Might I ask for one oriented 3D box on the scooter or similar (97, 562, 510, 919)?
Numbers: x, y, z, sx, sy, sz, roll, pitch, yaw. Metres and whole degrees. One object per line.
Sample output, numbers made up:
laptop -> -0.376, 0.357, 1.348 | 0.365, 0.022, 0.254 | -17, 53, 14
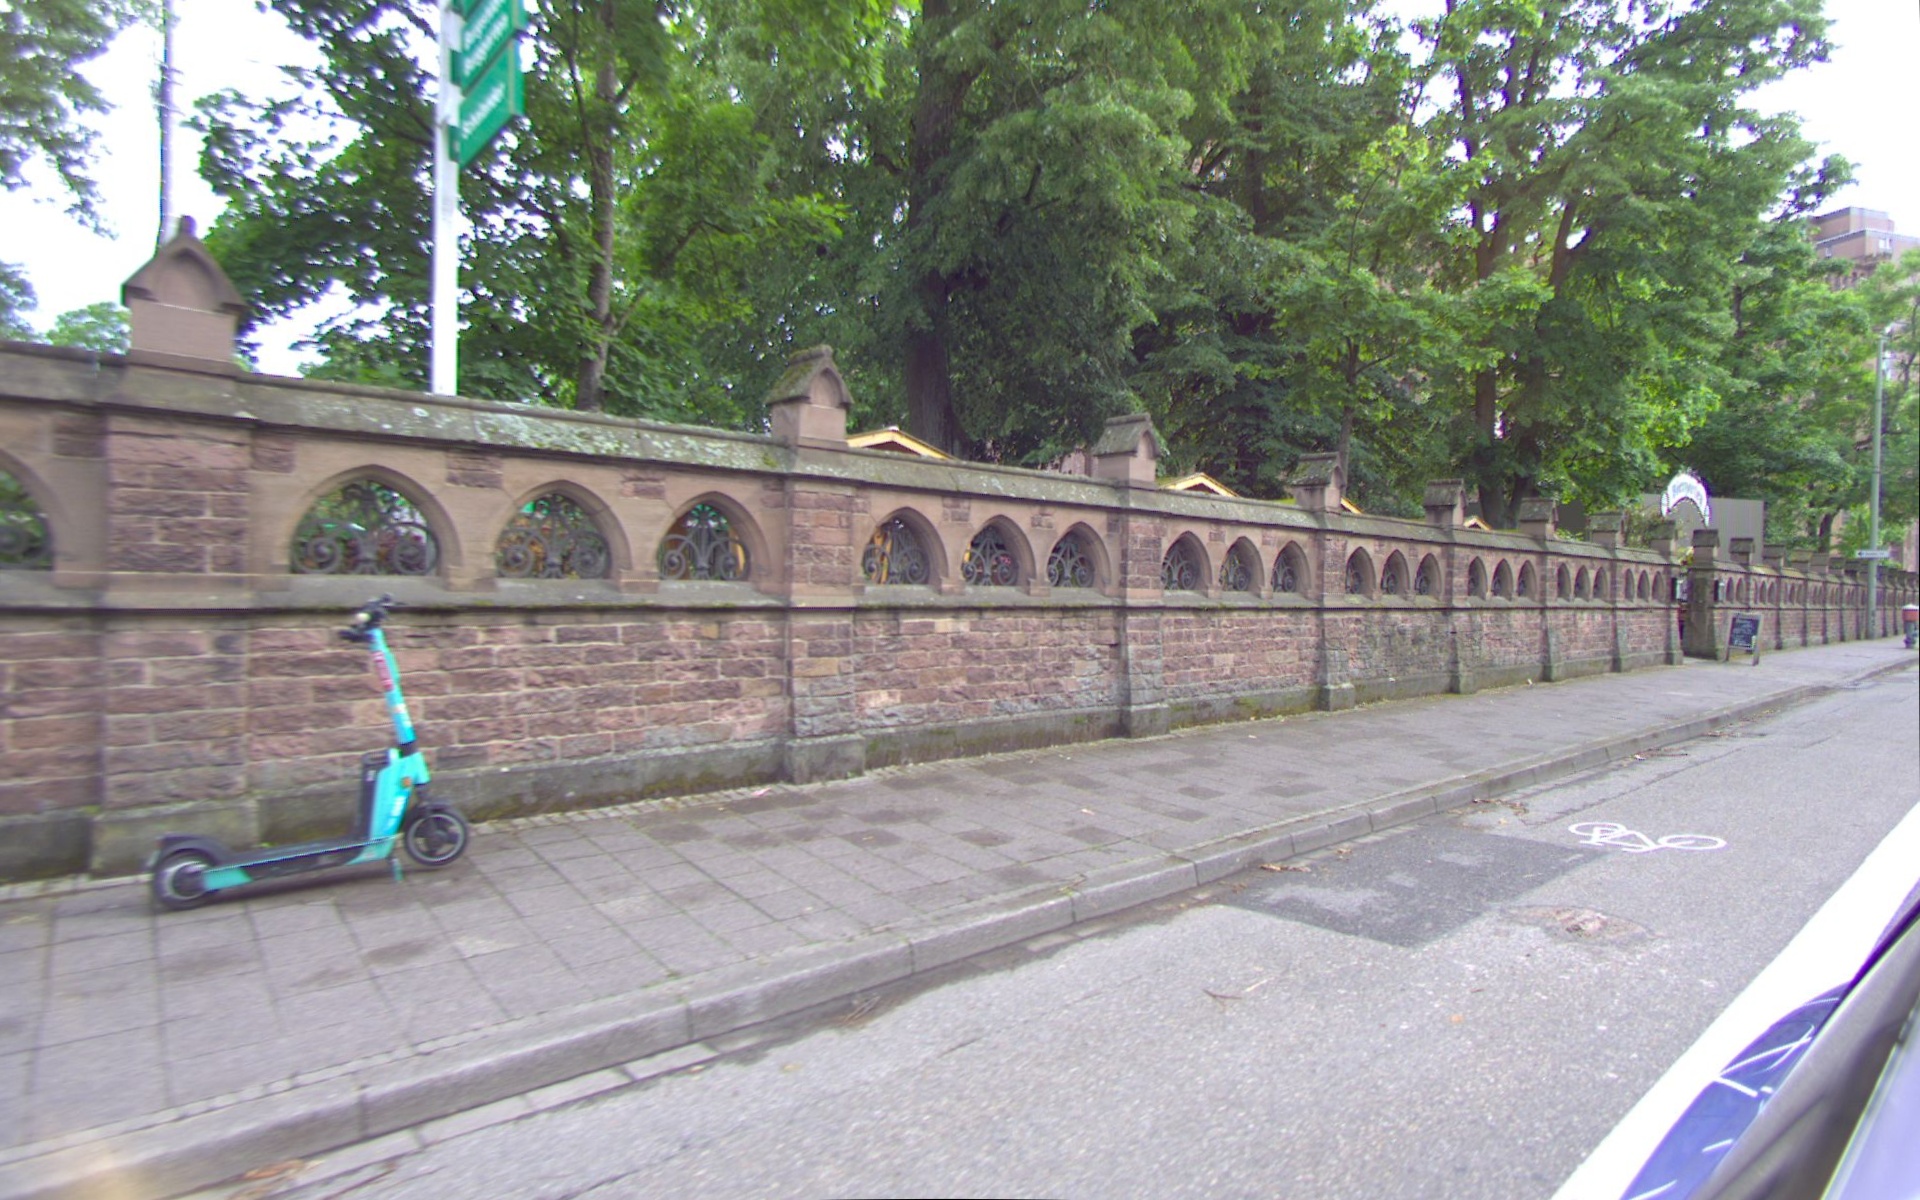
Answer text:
scooter or similar -> -2.730, 0.494, 4.276 | 1.385, 1.254, 0.578 | 0, 4, -40

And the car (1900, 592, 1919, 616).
car -> 70.472, 0.395, 72.573 | 1.960, 1.637, 4.008 | 1, 4, -29
